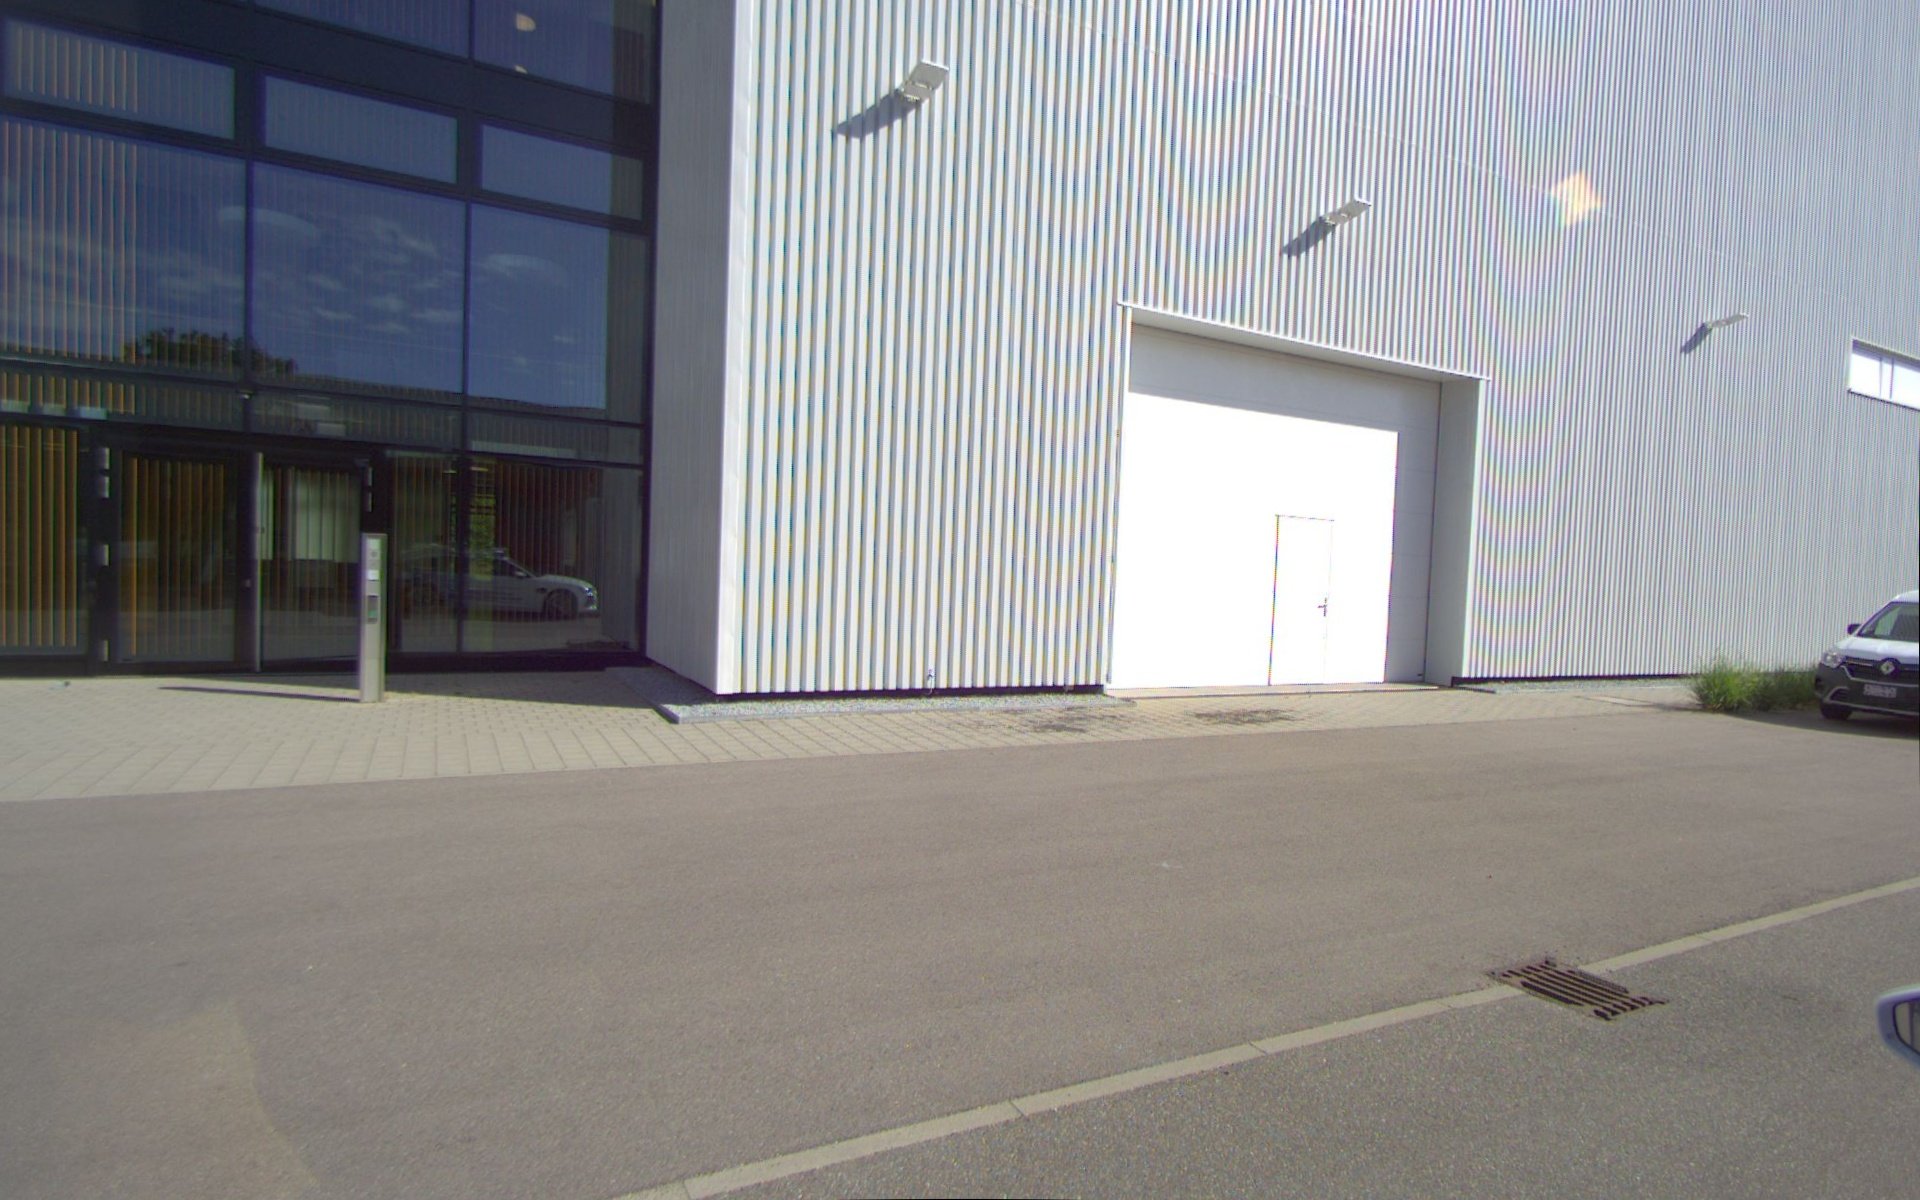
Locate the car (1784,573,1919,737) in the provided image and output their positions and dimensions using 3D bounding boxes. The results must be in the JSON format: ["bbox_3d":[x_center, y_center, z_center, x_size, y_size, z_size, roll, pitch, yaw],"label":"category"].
[{"bbox_3d":[13.060,0.705,13.193,4.305,1.870,1.882,1,4,-29],"label":"car"}]
